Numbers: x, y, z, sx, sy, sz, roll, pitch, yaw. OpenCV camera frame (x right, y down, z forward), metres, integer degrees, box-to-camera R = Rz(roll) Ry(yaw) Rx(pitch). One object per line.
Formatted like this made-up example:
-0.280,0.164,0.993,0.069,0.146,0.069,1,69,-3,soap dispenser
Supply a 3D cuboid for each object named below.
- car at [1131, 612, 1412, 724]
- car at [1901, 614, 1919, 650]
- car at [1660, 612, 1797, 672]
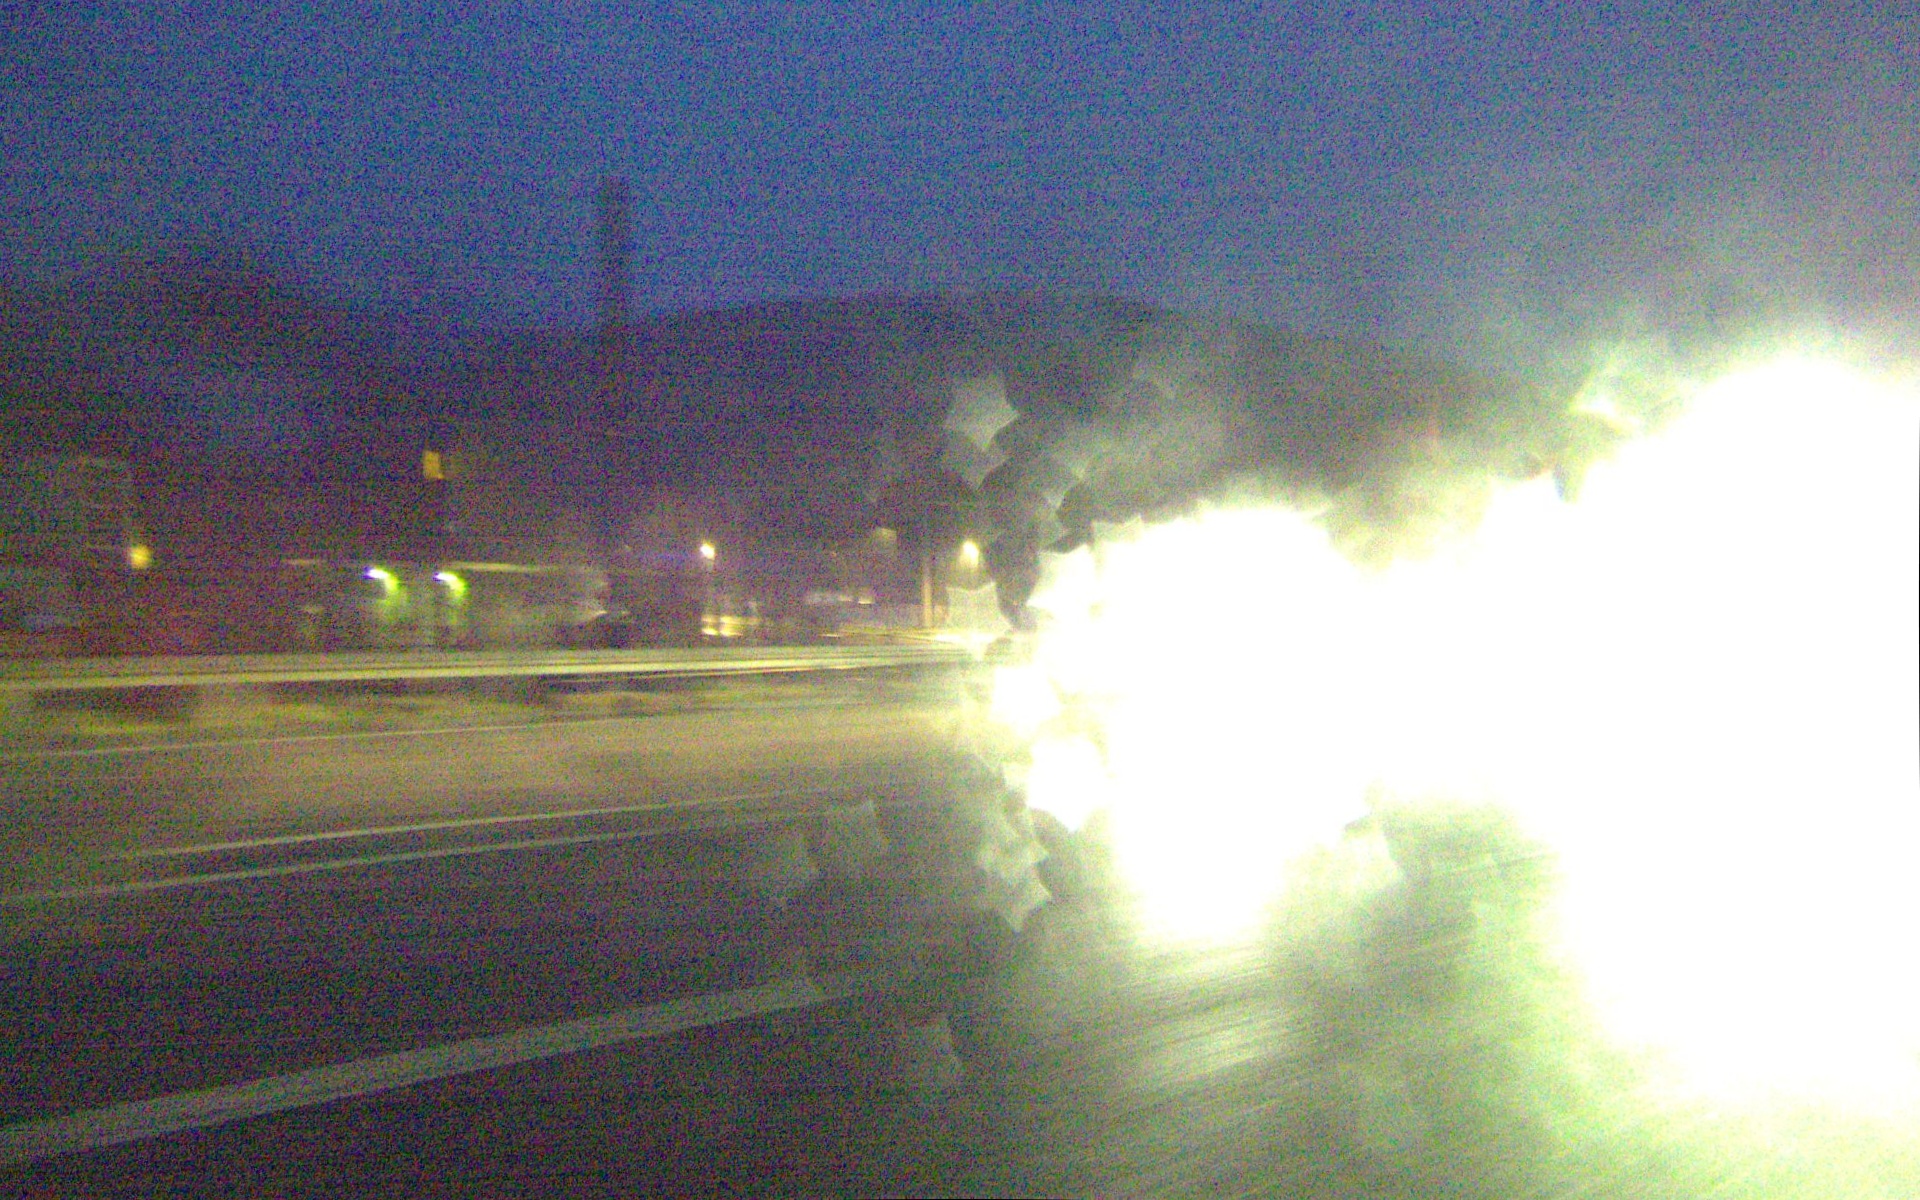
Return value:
4.921,0.968,15.628,4.445,1.461,1.820,1,1,-35,car
40.149,1.310,40.935,4.208,1.416,1.863,1,0,-36,car
20.233,1.077,26.411,3.816,1.460,1.779,0,-2,-35,car
